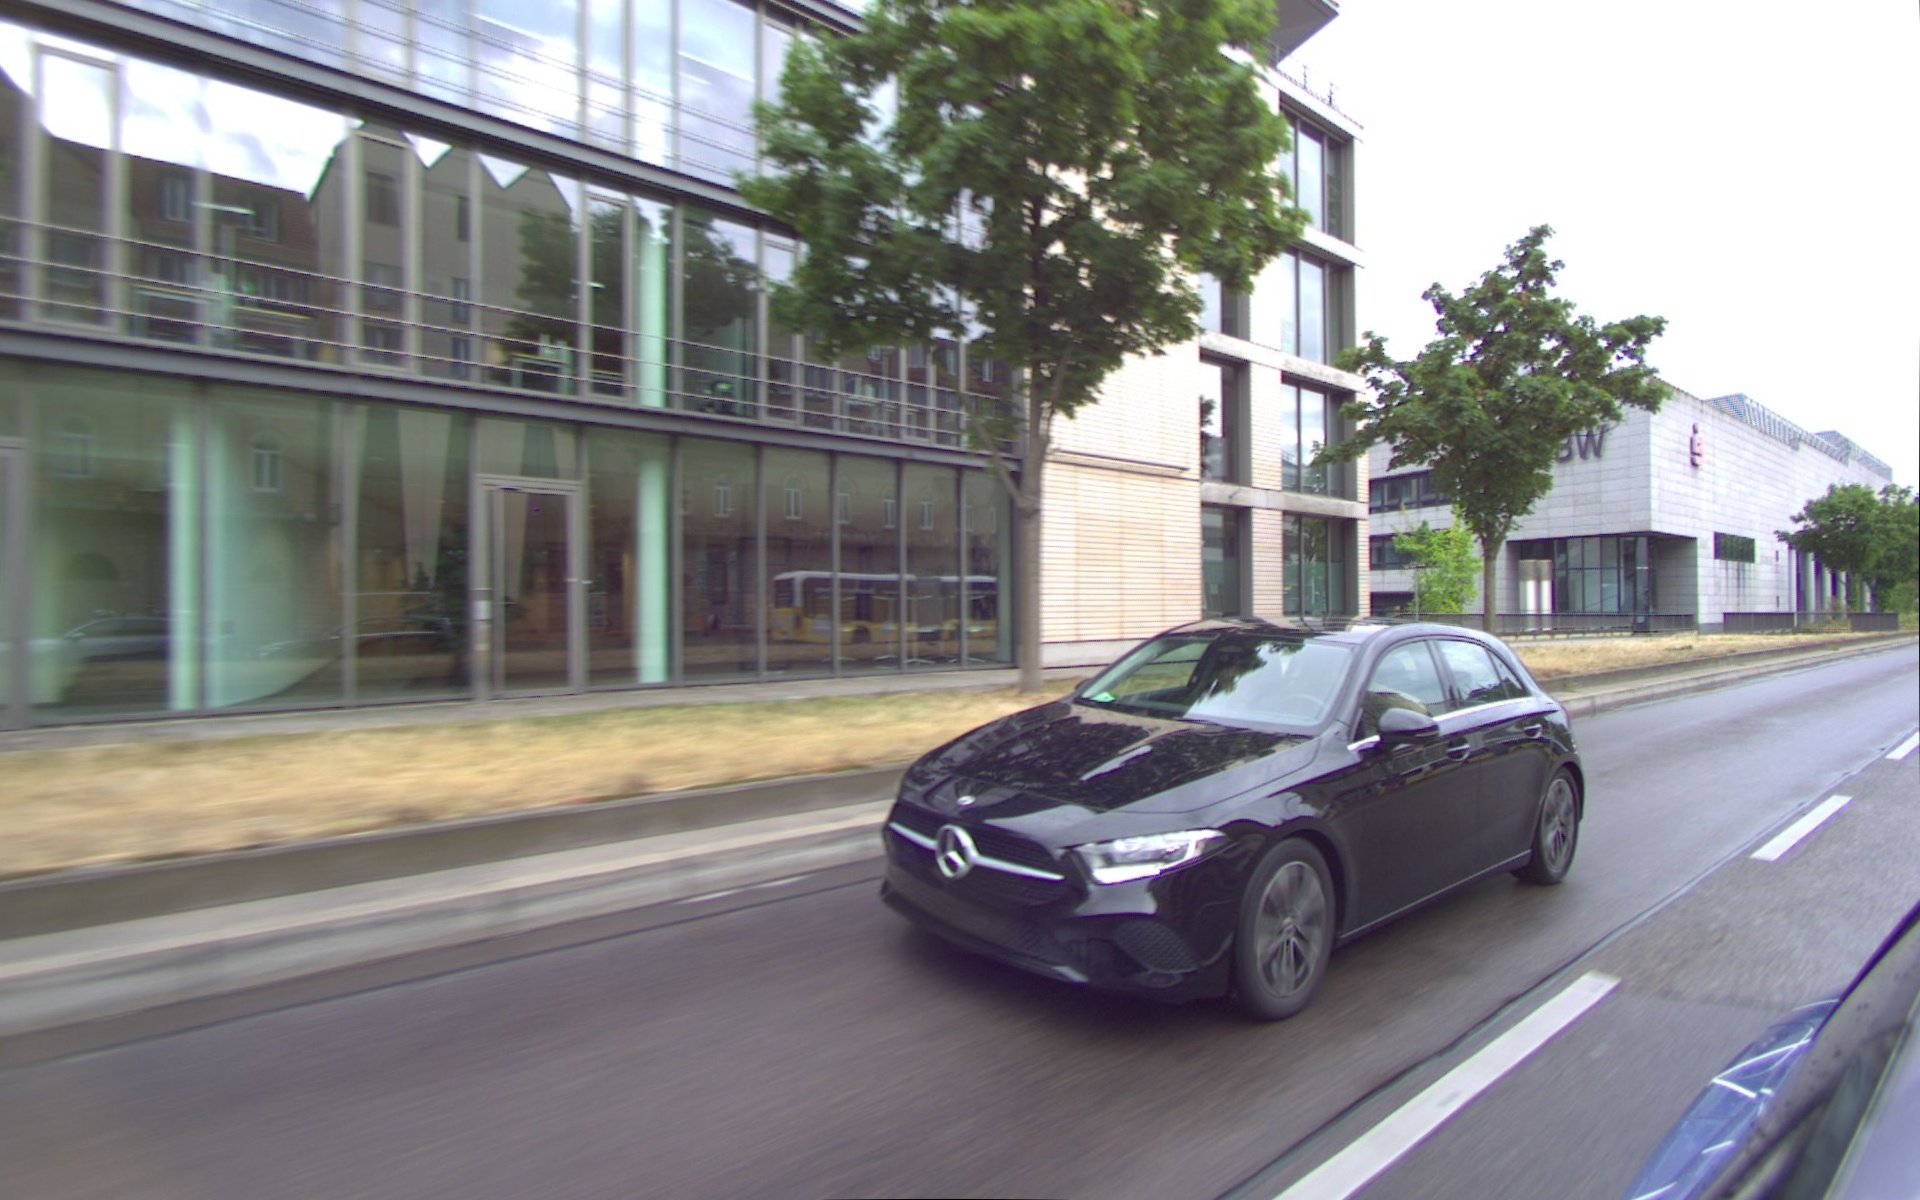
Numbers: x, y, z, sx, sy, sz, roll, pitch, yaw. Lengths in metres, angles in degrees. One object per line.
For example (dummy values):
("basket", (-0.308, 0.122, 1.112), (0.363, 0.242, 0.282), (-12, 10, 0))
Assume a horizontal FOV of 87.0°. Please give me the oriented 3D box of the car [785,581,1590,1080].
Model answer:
("car", (1.406, 0.692, 5.048), (4.132, 1.455, 1.875), (1, 0, -42))
